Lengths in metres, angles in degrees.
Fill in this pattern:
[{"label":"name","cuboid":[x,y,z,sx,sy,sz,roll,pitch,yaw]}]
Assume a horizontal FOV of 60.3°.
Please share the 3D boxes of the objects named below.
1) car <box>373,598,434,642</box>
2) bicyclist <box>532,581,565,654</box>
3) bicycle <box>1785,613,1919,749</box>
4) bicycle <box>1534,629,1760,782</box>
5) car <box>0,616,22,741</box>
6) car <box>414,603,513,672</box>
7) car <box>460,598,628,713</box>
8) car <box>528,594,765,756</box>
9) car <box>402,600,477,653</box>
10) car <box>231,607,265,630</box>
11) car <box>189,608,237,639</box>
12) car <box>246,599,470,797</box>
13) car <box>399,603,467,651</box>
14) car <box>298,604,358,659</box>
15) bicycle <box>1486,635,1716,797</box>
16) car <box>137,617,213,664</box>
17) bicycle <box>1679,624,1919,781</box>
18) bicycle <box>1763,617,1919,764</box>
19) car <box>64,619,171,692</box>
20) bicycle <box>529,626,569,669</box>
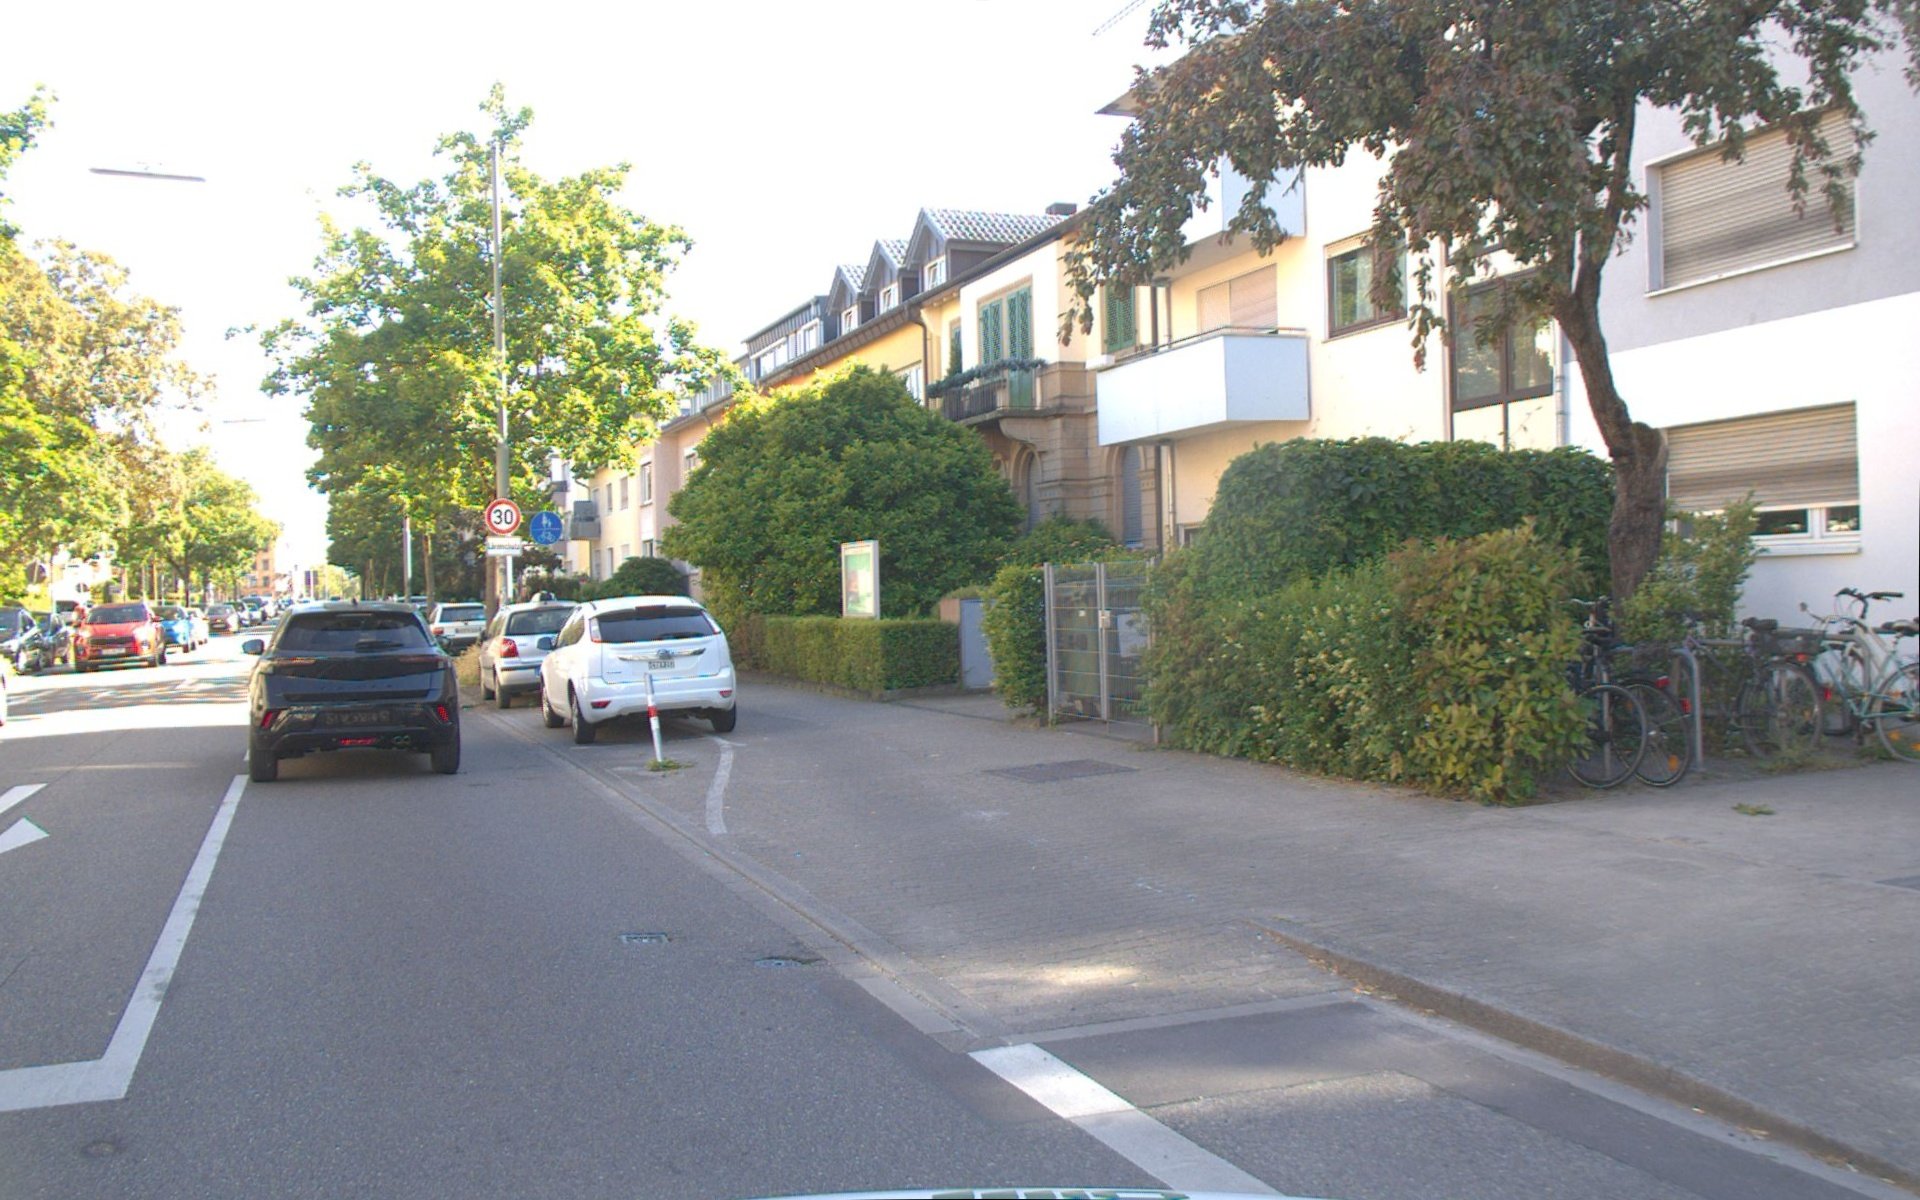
[{"label":"car","cuboid":[-20.998,0.734,62.305,1.884,1.454,3.973,-4,1,-22]},{"label":"bicyclist","cuboid":[-9.101,0.376,36.567,0.546,1.576,0.809,-2,1,-23]},{"label":"bicycle","cuboid":[6.935,0.580,12.214,0.503,0.956,1.585,-2,0,-19]},{"label":"bicycle","cuboid":[4.728,0.693,11.494,0.503,0.956,1.585,-2,0,-19]},{"label":"car","cuboid":[-12.921,1.067,20.167,1.783,1.585,4.224,-4,1,-20]},{"label":"car","cuboid":[-12.209,0.889,40.512,1.884,1.454,3.973,-4,1,-22]},{"label":"car","cuboid":[-6.409,0.785,25.193,1.884,1.454,3.973,-4,1,-22]},{"label":"car","cuboid":[-3.695,0.771,18.913,1.883,1.545,3.973,-3,1,-22]},{"label":"car","cuboid":[-16.439,0.810,52.101,1.884,1.454,3.973,-4,1,-22]},{"label":"car","cuboid":[-48.418,1.217,112.454,1.783,1.412,4.224,-4,1,-20]},{"label":"car","cuboid":[-37.807,1.182,83.806,1.783,1.412,4.224,-4,1,-20]},{"label":"car","cuboid":[-5.773,0.813,15.767,1.738,1.585,3.974,-1,0,-22]},{"label":"car","cuboid":[-18.162,0.912,56.886,1.884,1.454,3.973,-4,1,-22]},{"label":"car","cuboid":[-19.467,0.981,51.065,1.568,1.593,4.065,-1,-1,-19]},{"label":"bicycle","cuboid":[4.218,0.731,11.001,0.503,0.956,1.585,-2,0,-19]},{"label":"car","cuboid":[-25.666,1.301,54.188,1.783,1.305,4.224,-4,1,-20]},{"label":"bicycle","cuboid":[5.678,0.654,11.222,0.503,0.956,1.585,-2,0,-19]},{"label":"bicycle","cuboid":[6.450,0.608,11.574,0.503,0.956,1.585,-2,0,-19]},{"label":"car","cuboid":[-21.137,1.352,41.654,1.783,1.585,4.224,-4,1,-20]},{"label":"bicycle","cuboid":[-9.135,1.036,36.682,0.546,0.848,2.117,-2,1,-22]}]
